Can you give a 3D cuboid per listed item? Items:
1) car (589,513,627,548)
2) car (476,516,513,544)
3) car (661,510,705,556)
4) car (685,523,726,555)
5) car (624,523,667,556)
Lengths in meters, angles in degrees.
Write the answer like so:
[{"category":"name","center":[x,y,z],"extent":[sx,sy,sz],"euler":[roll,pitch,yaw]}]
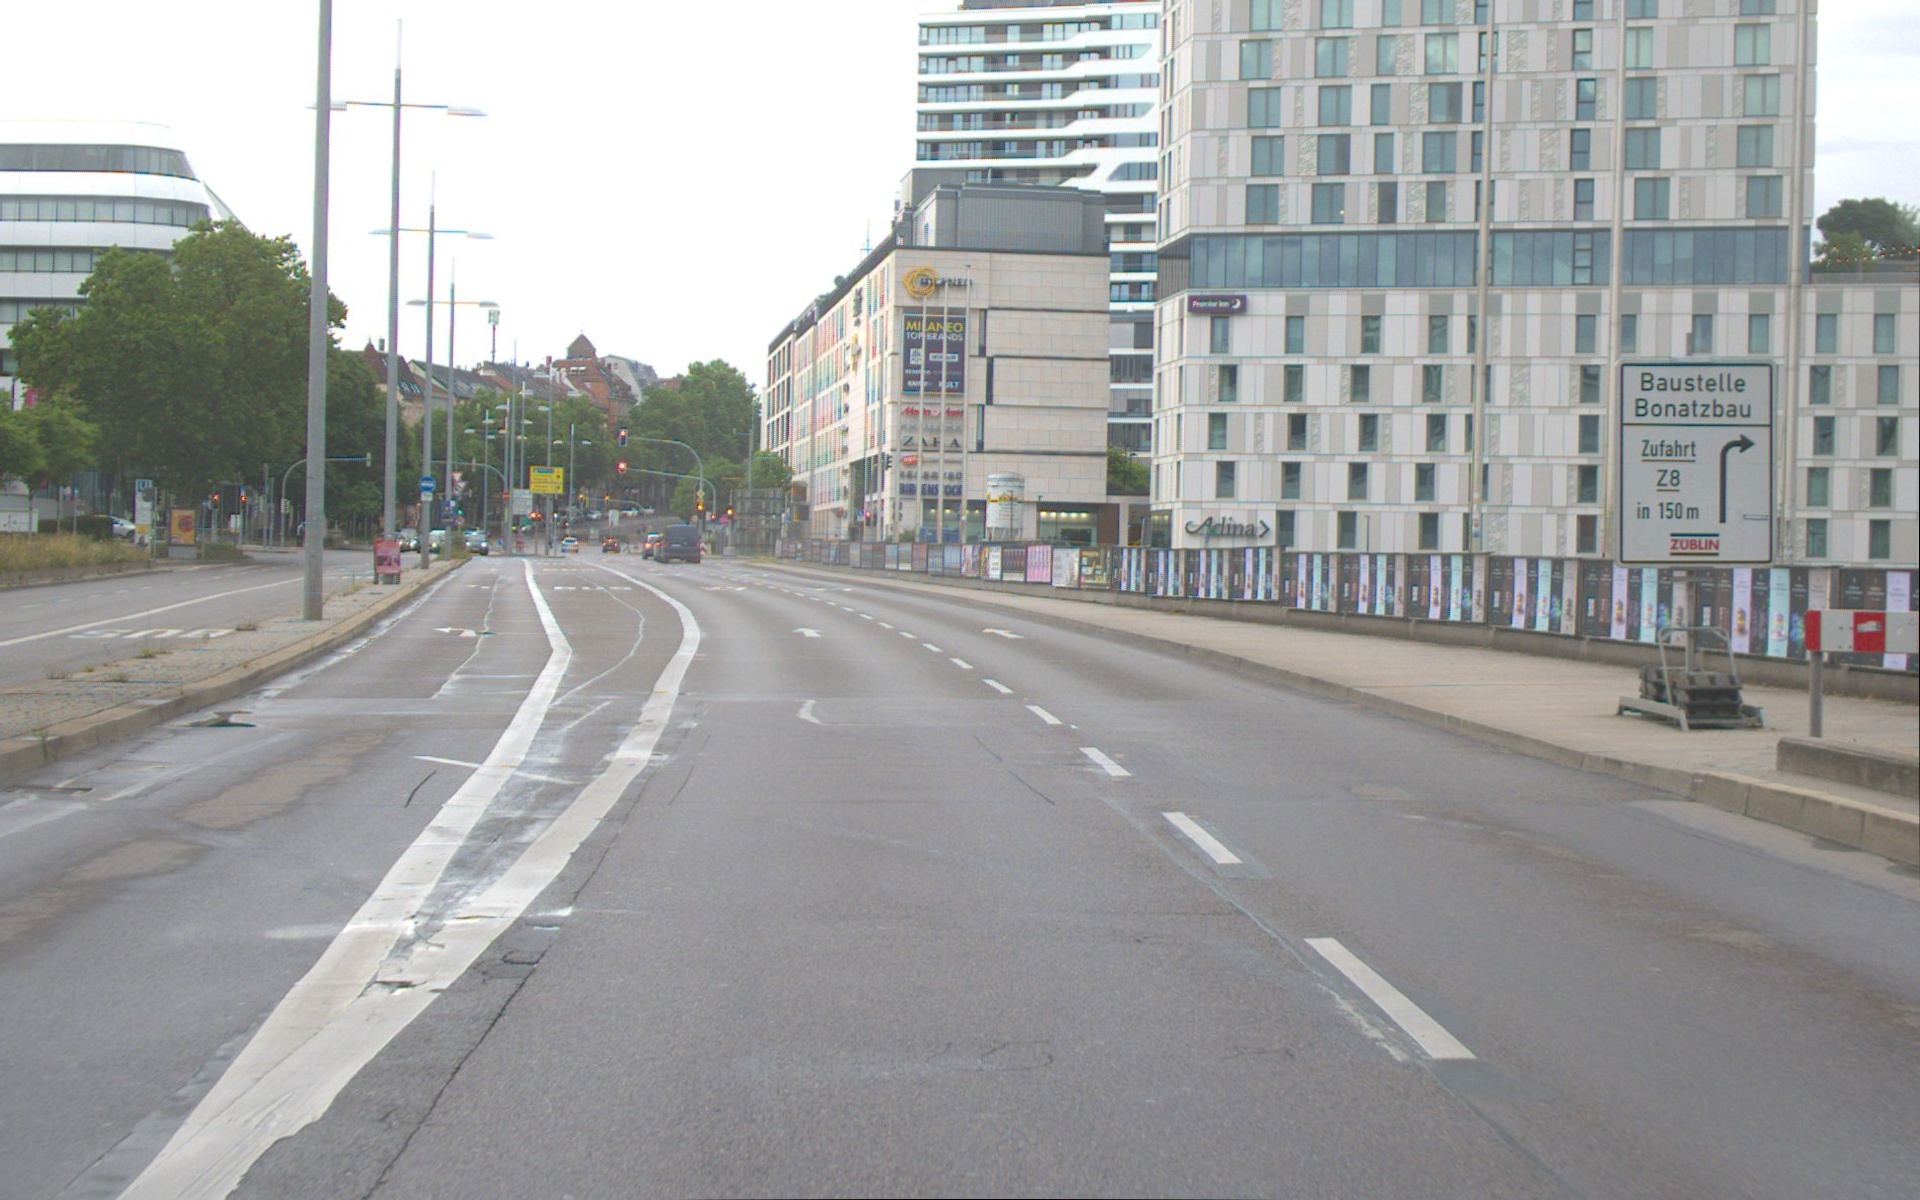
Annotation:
[{"category":"car","center":[-21.176,-4.190,207.079],"extent":[1.993,2.006,4.001],"euler":[0,3,-1]},{"category":"car","center":[-31.379,-4.741,231.822],"extent":[1.993,1.776,4.001],"euler":[0,3,-1]},{"category":"car","center":[-14.195,-3.441,176.509],"extent":[1.993,2.335,4.000],"euler":[1,1,-1]},{"category":"car","center":[-15.140,-3.667,204.832],"extent":[1.994,1.809,4.000],"euler":[0,3,2]},{"category":"car","center":[-18.484,-3.556,202.417],"extent":[1.994,1.809,4.000],"euler":[0,3,2]}]
